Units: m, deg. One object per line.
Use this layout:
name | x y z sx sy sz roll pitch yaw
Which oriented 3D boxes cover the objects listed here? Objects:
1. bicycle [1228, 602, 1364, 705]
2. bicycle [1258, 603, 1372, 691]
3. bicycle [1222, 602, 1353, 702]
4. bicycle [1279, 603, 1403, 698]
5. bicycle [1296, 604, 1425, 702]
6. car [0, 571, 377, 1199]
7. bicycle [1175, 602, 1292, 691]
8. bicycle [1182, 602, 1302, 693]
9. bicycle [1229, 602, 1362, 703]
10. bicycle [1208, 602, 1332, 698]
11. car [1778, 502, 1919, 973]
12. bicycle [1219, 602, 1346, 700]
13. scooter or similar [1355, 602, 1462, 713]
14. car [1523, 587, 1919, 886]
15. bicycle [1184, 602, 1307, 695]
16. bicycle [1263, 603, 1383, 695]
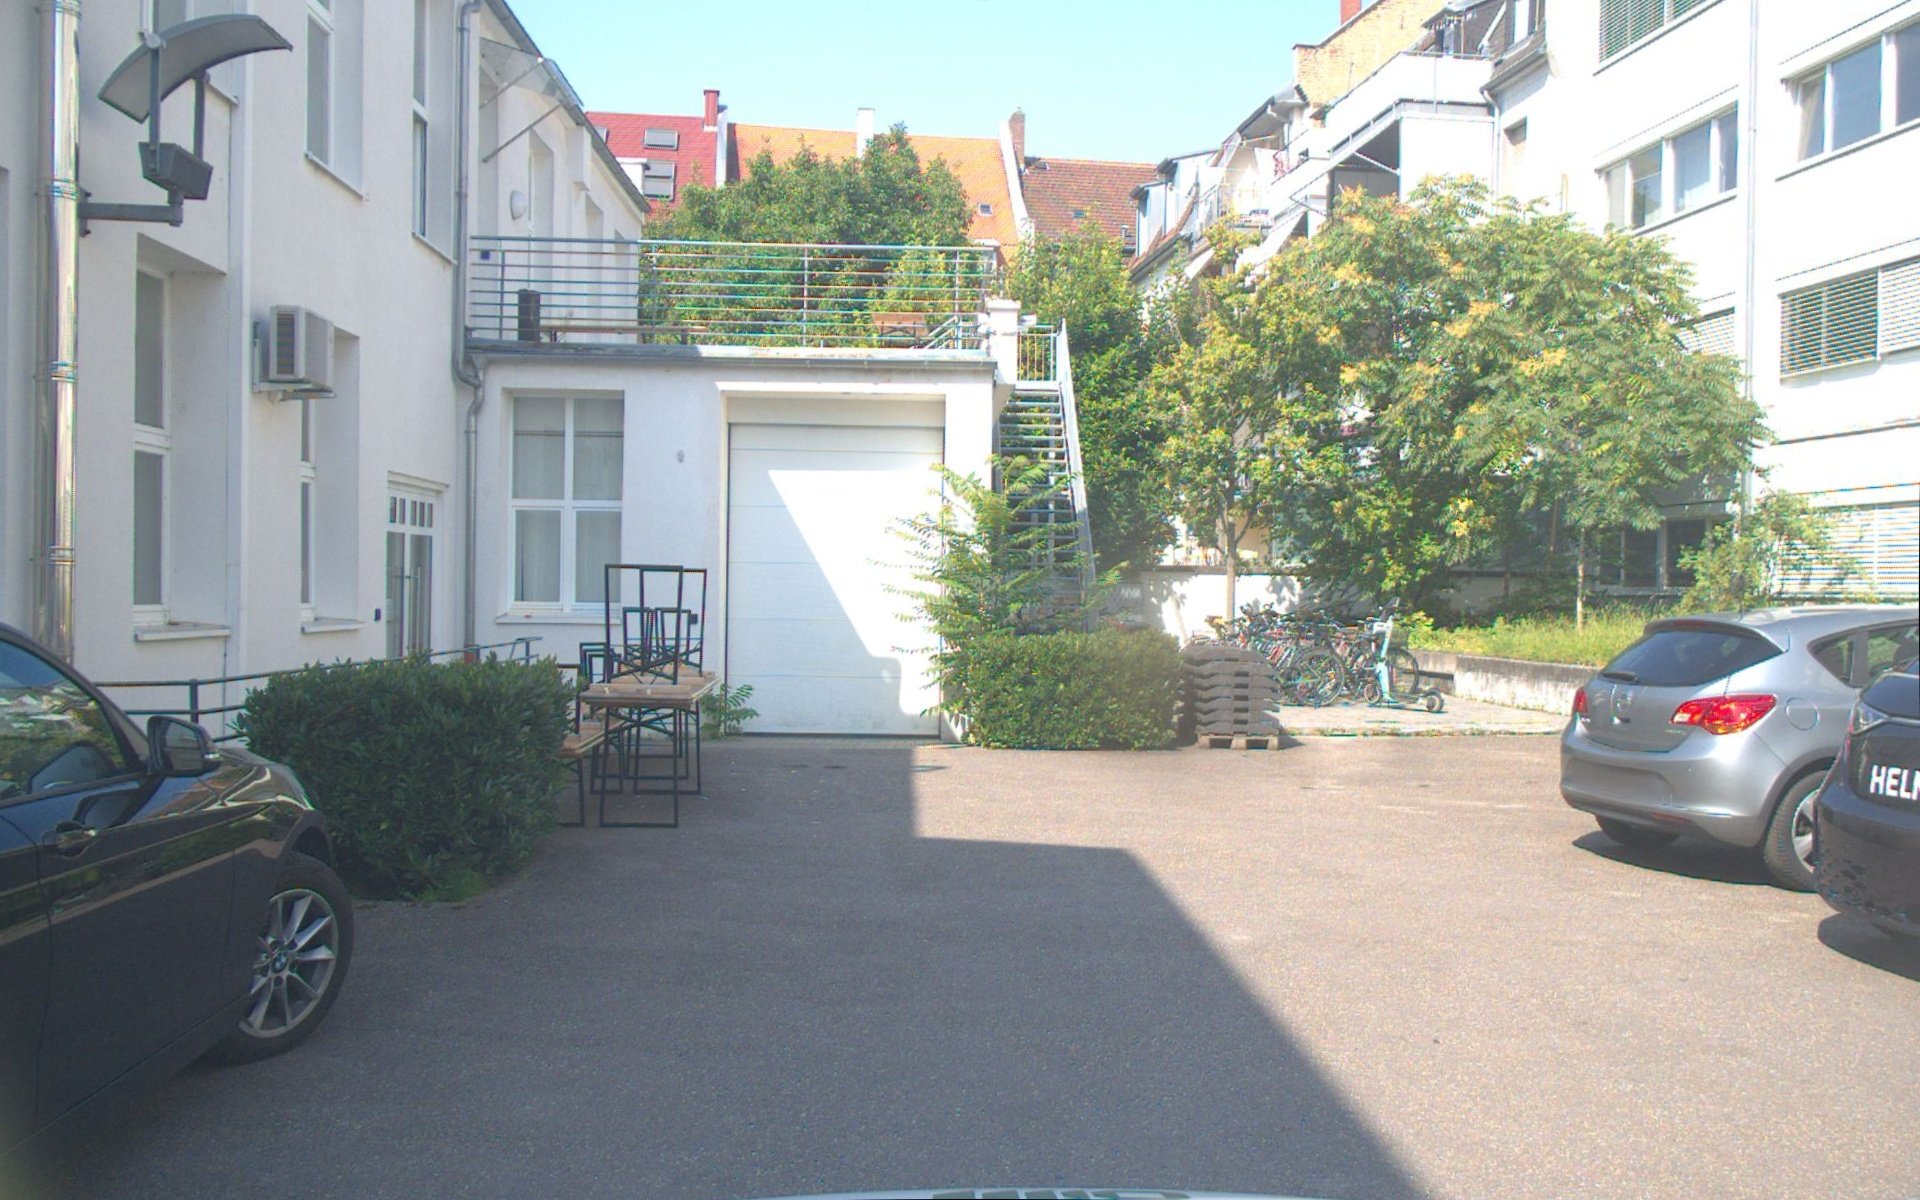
bicycle | 4.107 0.647 20.239 1.590 1.235 0.327 0 0 -1
bicycle | 5.077 0.672 23.704 1.588 1.235 0.424 0 0 10
bicycle | 4.124 0.649 20.855 1.590 1.235 0.327 0 0 -1
bicycle | 5.080 0.669 22.102 1.588 1.235 0.424 0 0 11
bicycle | 5.132 0.667 21.242 1.588 1.235 0.327 0 0 13
car | -2.588 0.677 3.272 1.655 1.484 3.920 1 0 -3
bicycle | 3.891 0.651 23.576 1.592 1.235 0.423 0 0 -7
bicycle | 3.915 0.650 22.975 1.592 1.235 0.423 0 0 -8
bicycle | 4.162 0.649 20.563 1.590 1.235 0.327 0 0 -1
bicycle | 4.058 0.649 21.668 1.588 1.235 0.327 0 0 11
car | 5.904 0.538 6.724 4.420 1.826 1.878 0 -1 -11
bicycle | 4.145 0.650 21.307 1.588 1.235 0.327 0 0 8
scooter or similar | 5.419 0.676 20.041 0.375 1.283 1.333 0 0 -33
car | 5.486 0.699 9.594 3.862 1.508 1.770 0 -1 -11
bicycle | 3.852 0.648 22.338 1.590 1.235 0.424 0 0 -3
bicycle | 4.969 0.668 22.674 1.588 1.235 0.424 0 0 10
